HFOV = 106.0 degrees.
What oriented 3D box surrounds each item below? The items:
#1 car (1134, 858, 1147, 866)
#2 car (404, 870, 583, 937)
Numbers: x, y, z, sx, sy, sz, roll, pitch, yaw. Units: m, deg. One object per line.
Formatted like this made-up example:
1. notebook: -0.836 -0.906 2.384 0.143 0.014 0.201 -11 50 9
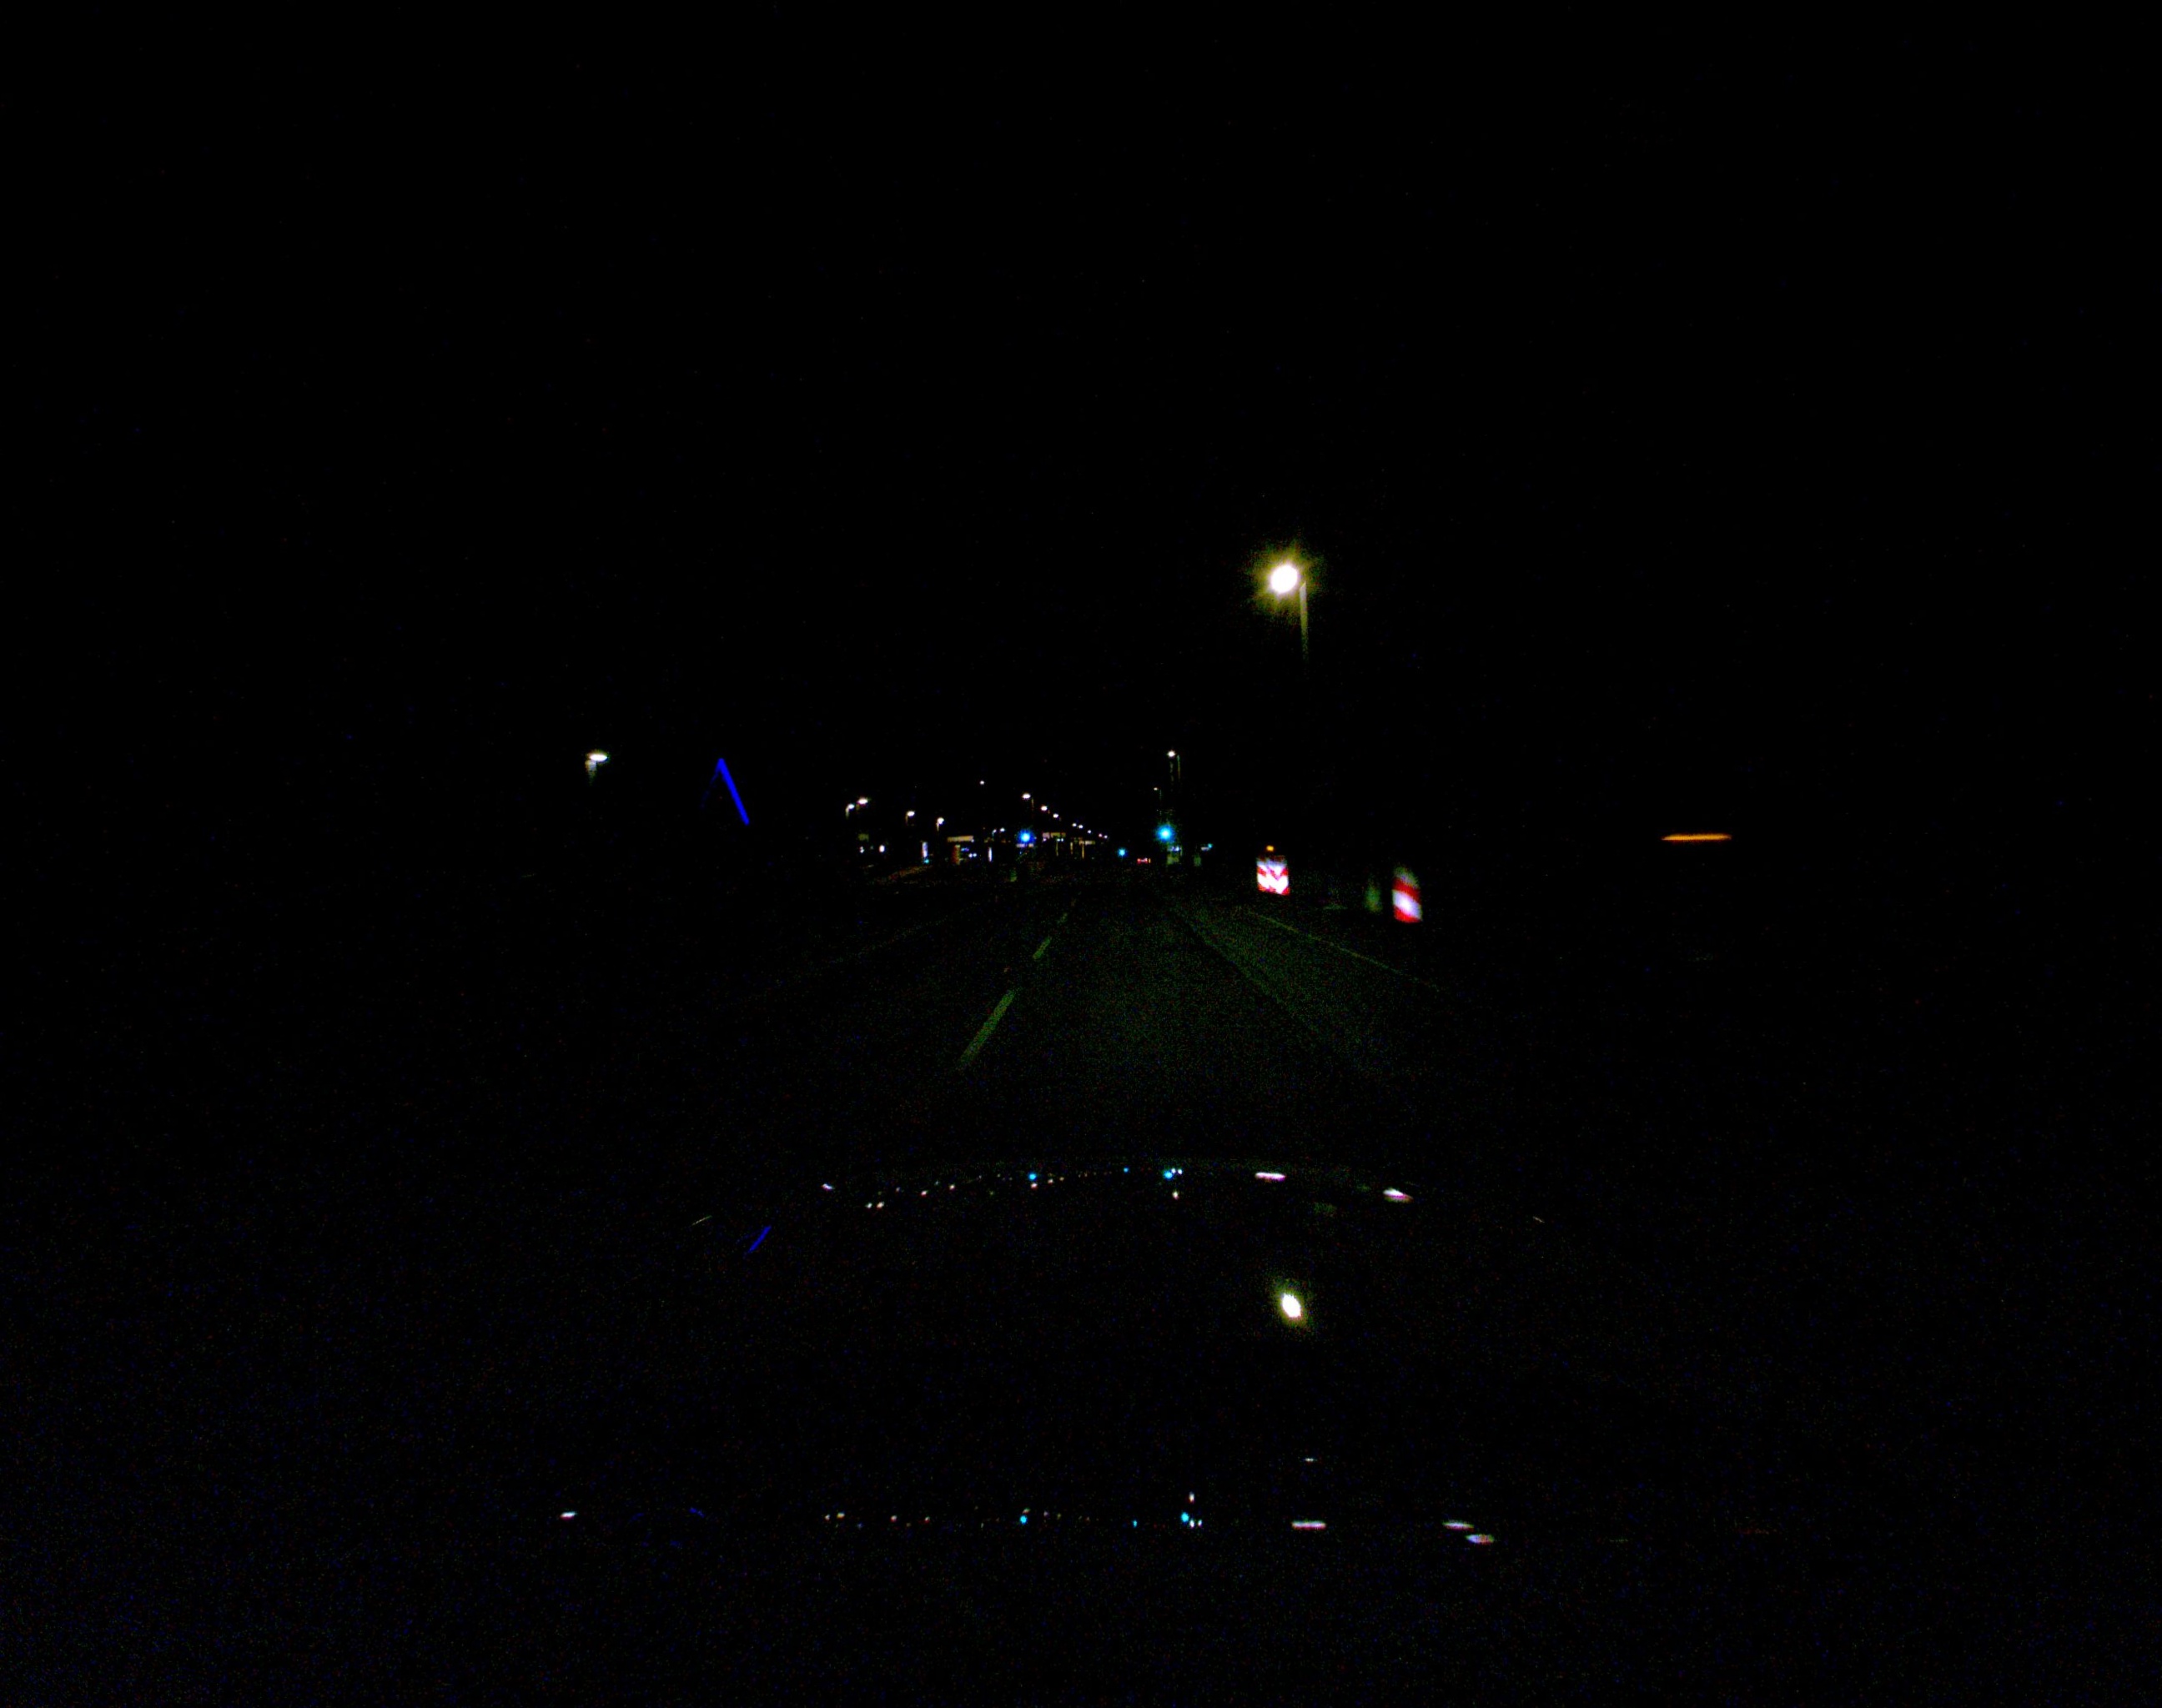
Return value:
1. car: 11.218 1.525 153.124 2.150 1.583 4.020 0 -1 7
2. car: -15.928 1.286 22.398 1.859 1.505 4.094 -3 0 0
